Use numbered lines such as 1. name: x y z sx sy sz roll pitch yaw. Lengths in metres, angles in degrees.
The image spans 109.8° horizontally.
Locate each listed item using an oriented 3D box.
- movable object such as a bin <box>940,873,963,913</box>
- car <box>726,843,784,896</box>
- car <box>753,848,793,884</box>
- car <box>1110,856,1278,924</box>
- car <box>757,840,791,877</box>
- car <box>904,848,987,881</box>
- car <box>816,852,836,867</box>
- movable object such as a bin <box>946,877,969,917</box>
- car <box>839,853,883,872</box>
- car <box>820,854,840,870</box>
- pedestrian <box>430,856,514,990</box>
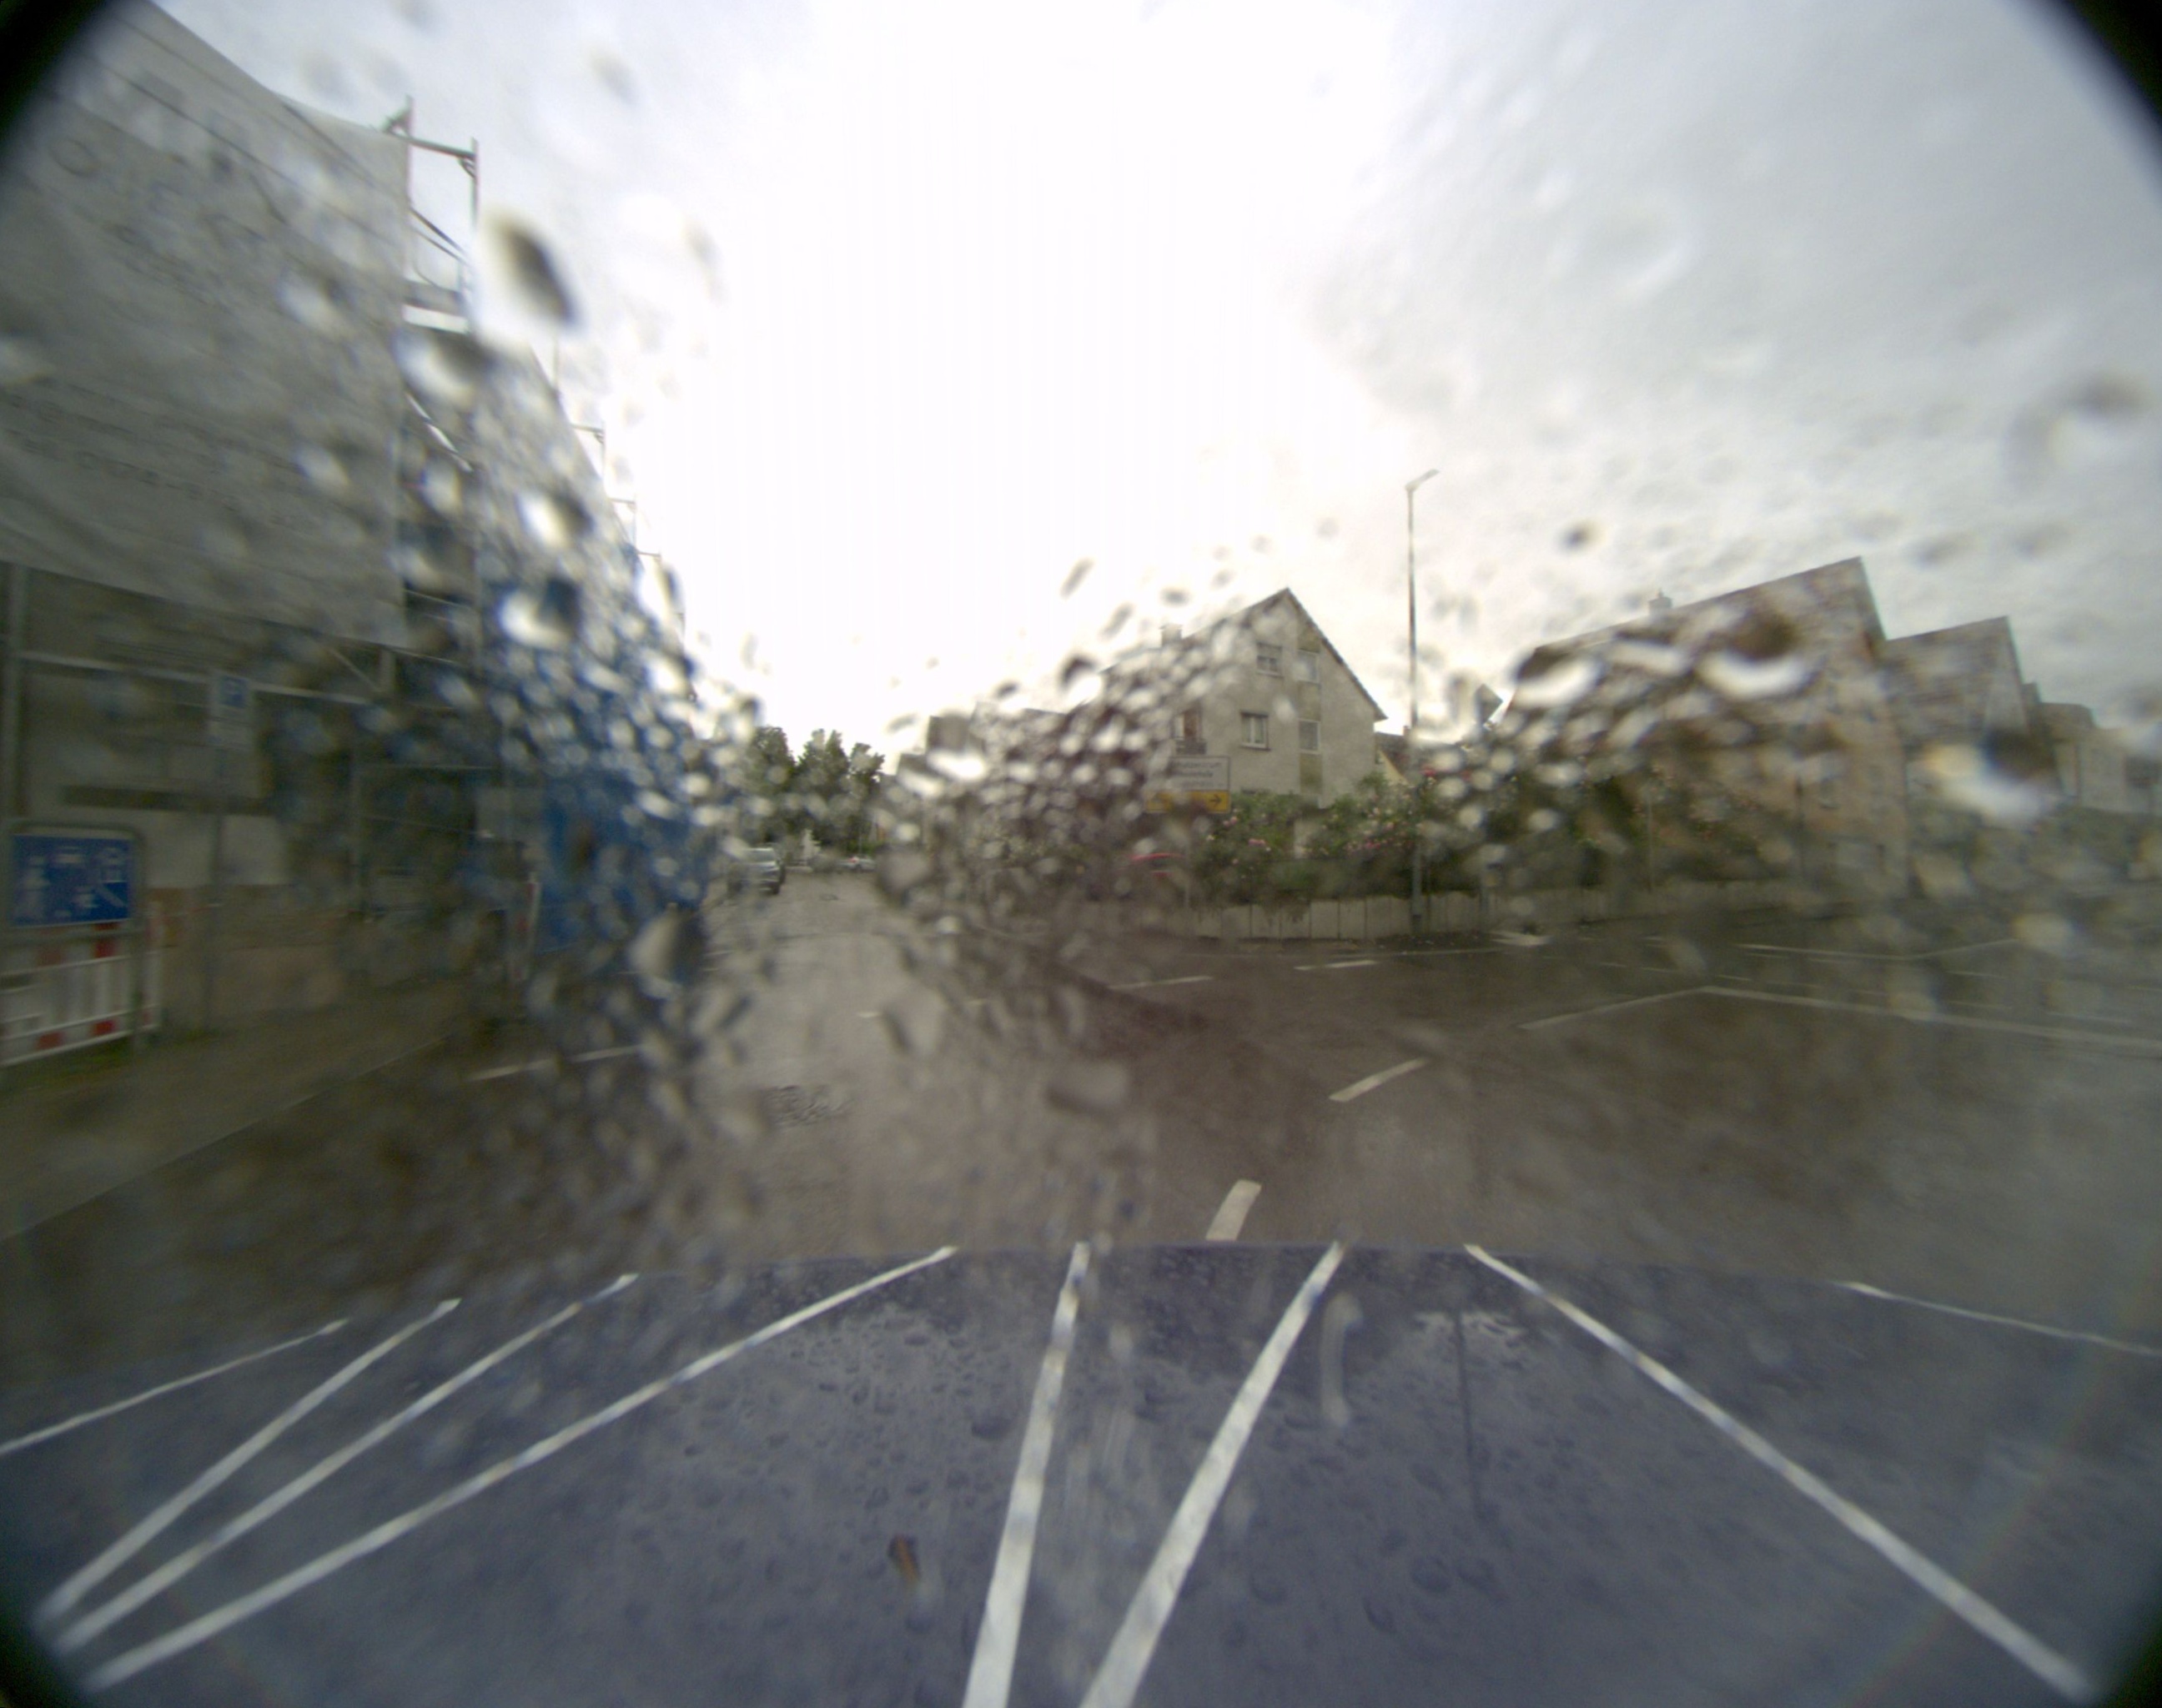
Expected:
1. movable object such as a bin: -3.550 1.061 20.811 0.522 1.044 0.414 -4 2 -19
2. car: -12.833 0.562 30.140 1.830 1.964 4.509 0 0 -19
3. car: -16.119 0.587 39.742 1.831 1.786 4.508 0 0 -23
4. car: 2.919 0.897 19.558 4.006 1.589 1.717 1 0 -27
5. car: -18.373 0.250 45.385 1.714 2.089 3.932 -1 0 -24
6. car: -7.226 0.553 40.658 4.007 1.696 1.777 0 0 -31
7. car: -26.215 0.507 78.044 1.712 1.508 3.585 0 0 -23
8. movable object such as a bin: -3.308 1.146 20.291 0.522 1.020 0.414 1 0 -19
9. car: -16.444 0.621 56.929 1.763 1.346 3.680 1 0 9
10. car: -24.298 0.744 73.575 1.613 1.532 3.585 0 0 -23
11. pedestrian: -7.380 0.823 9.224 0.657 1.571 0.436 2 0 -20
